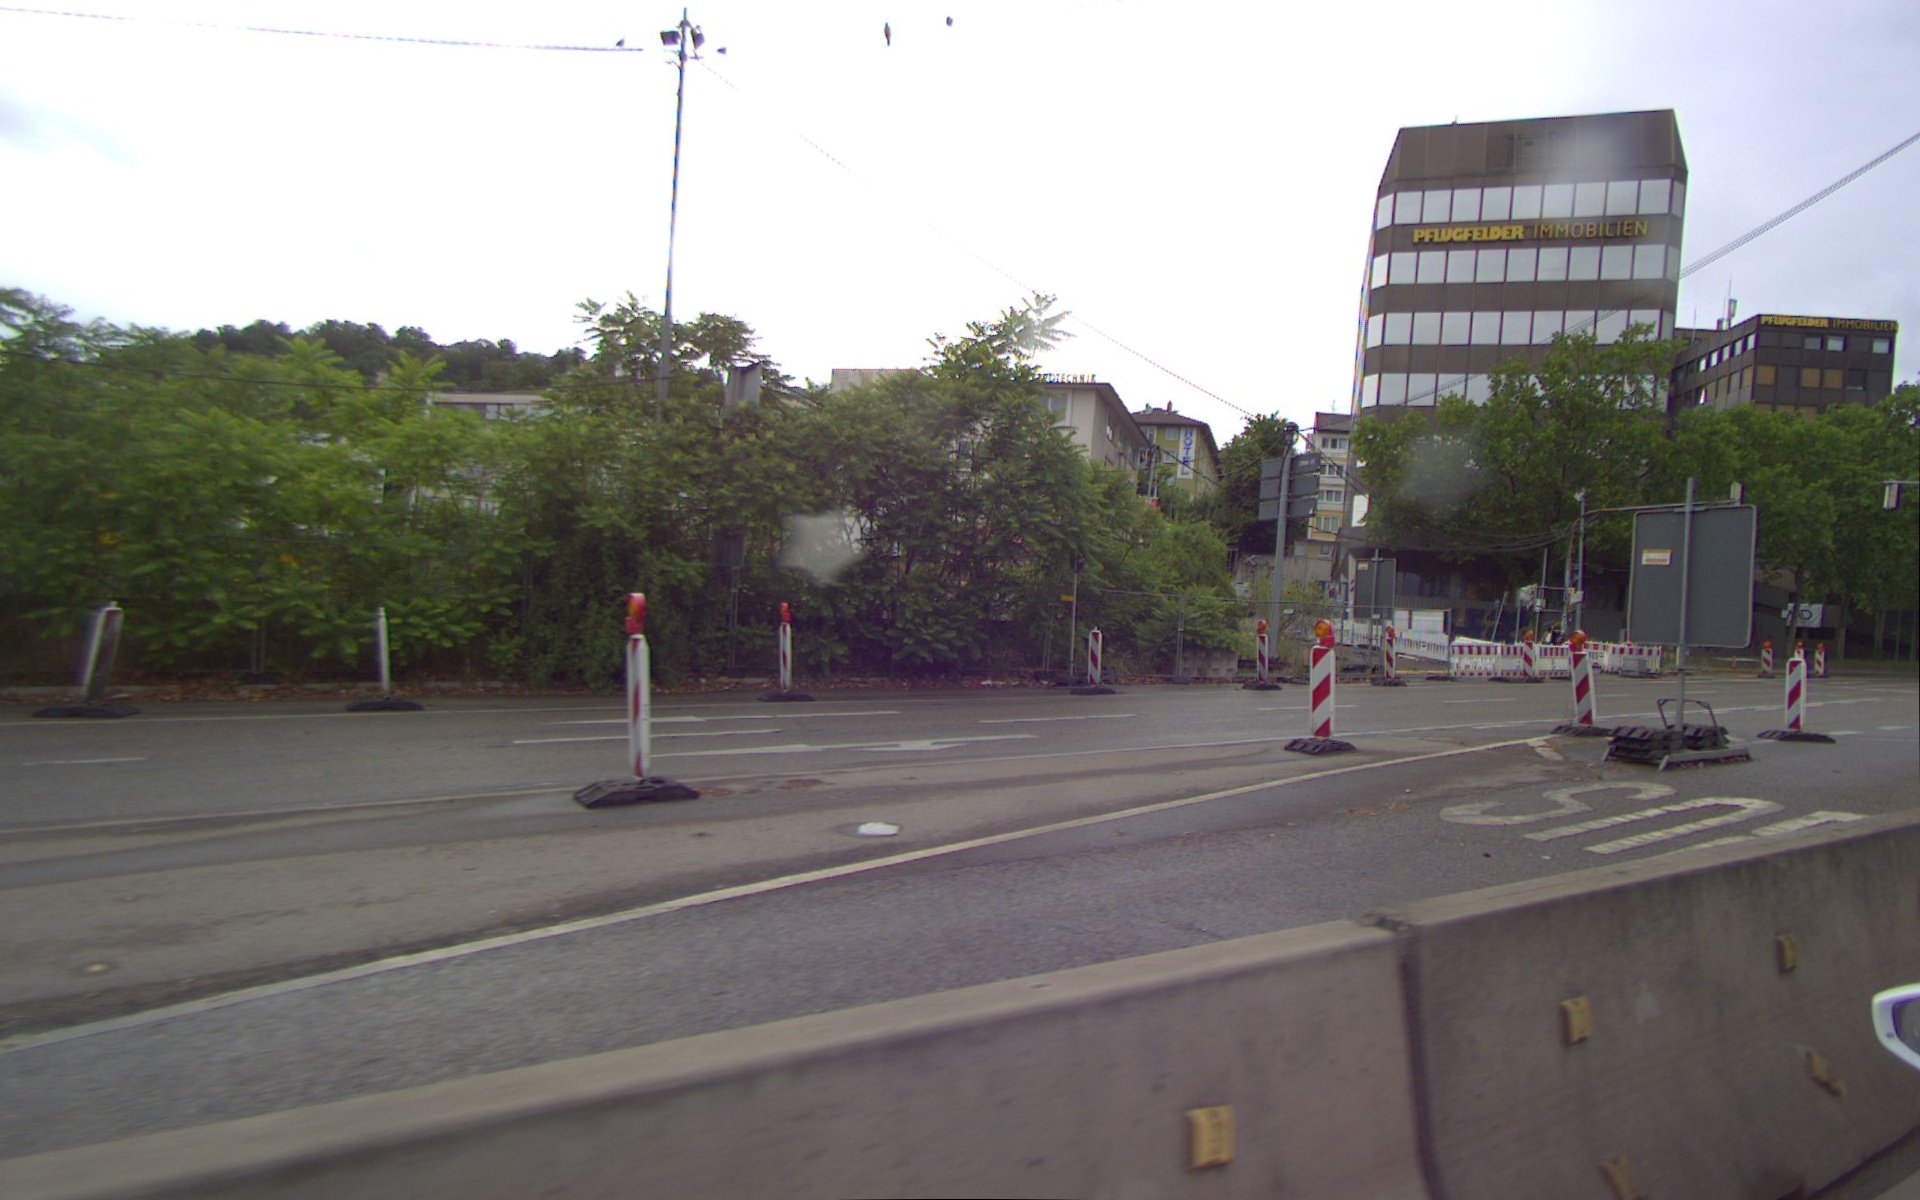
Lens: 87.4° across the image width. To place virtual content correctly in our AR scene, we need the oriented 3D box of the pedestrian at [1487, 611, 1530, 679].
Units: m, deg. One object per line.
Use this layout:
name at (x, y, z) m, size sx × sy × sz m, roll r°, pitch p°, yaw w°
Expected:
pedestrian at (16.237, 1.326, 29.731) m, size 0.734 × 1.947 × 0.757 m, roll 4°, pitch -1°, yaw -31°

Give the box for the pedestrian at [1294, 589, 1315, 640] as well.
pedestrian at (15.000, 0.648, 43.714) m, size 0.728 × 2.168 × 0.747 m, roll 4°, pitch -1°, yaw 20°

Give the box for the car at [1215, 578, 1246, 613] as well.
car at (21.732, -0.305, 80.647) m, size 2.184 × 2.474 × 5.508 m, roll 4°, pitch -1°, yaw 15°

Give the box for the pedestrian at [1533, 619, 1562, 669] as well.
pedestrian at (23.227, 1.720, 39.727) m, size 0.742 × 1.905 × 0.733 m, roll 5°, pitch -1°, yaw -43°

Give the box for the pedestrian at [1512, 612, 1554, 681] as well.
pedestrian at (16.574, 1.344, 29.069) m, size 0.767 × 1.926 × 0.668 m, roll 4°, pitch -1°, yaw -31°
